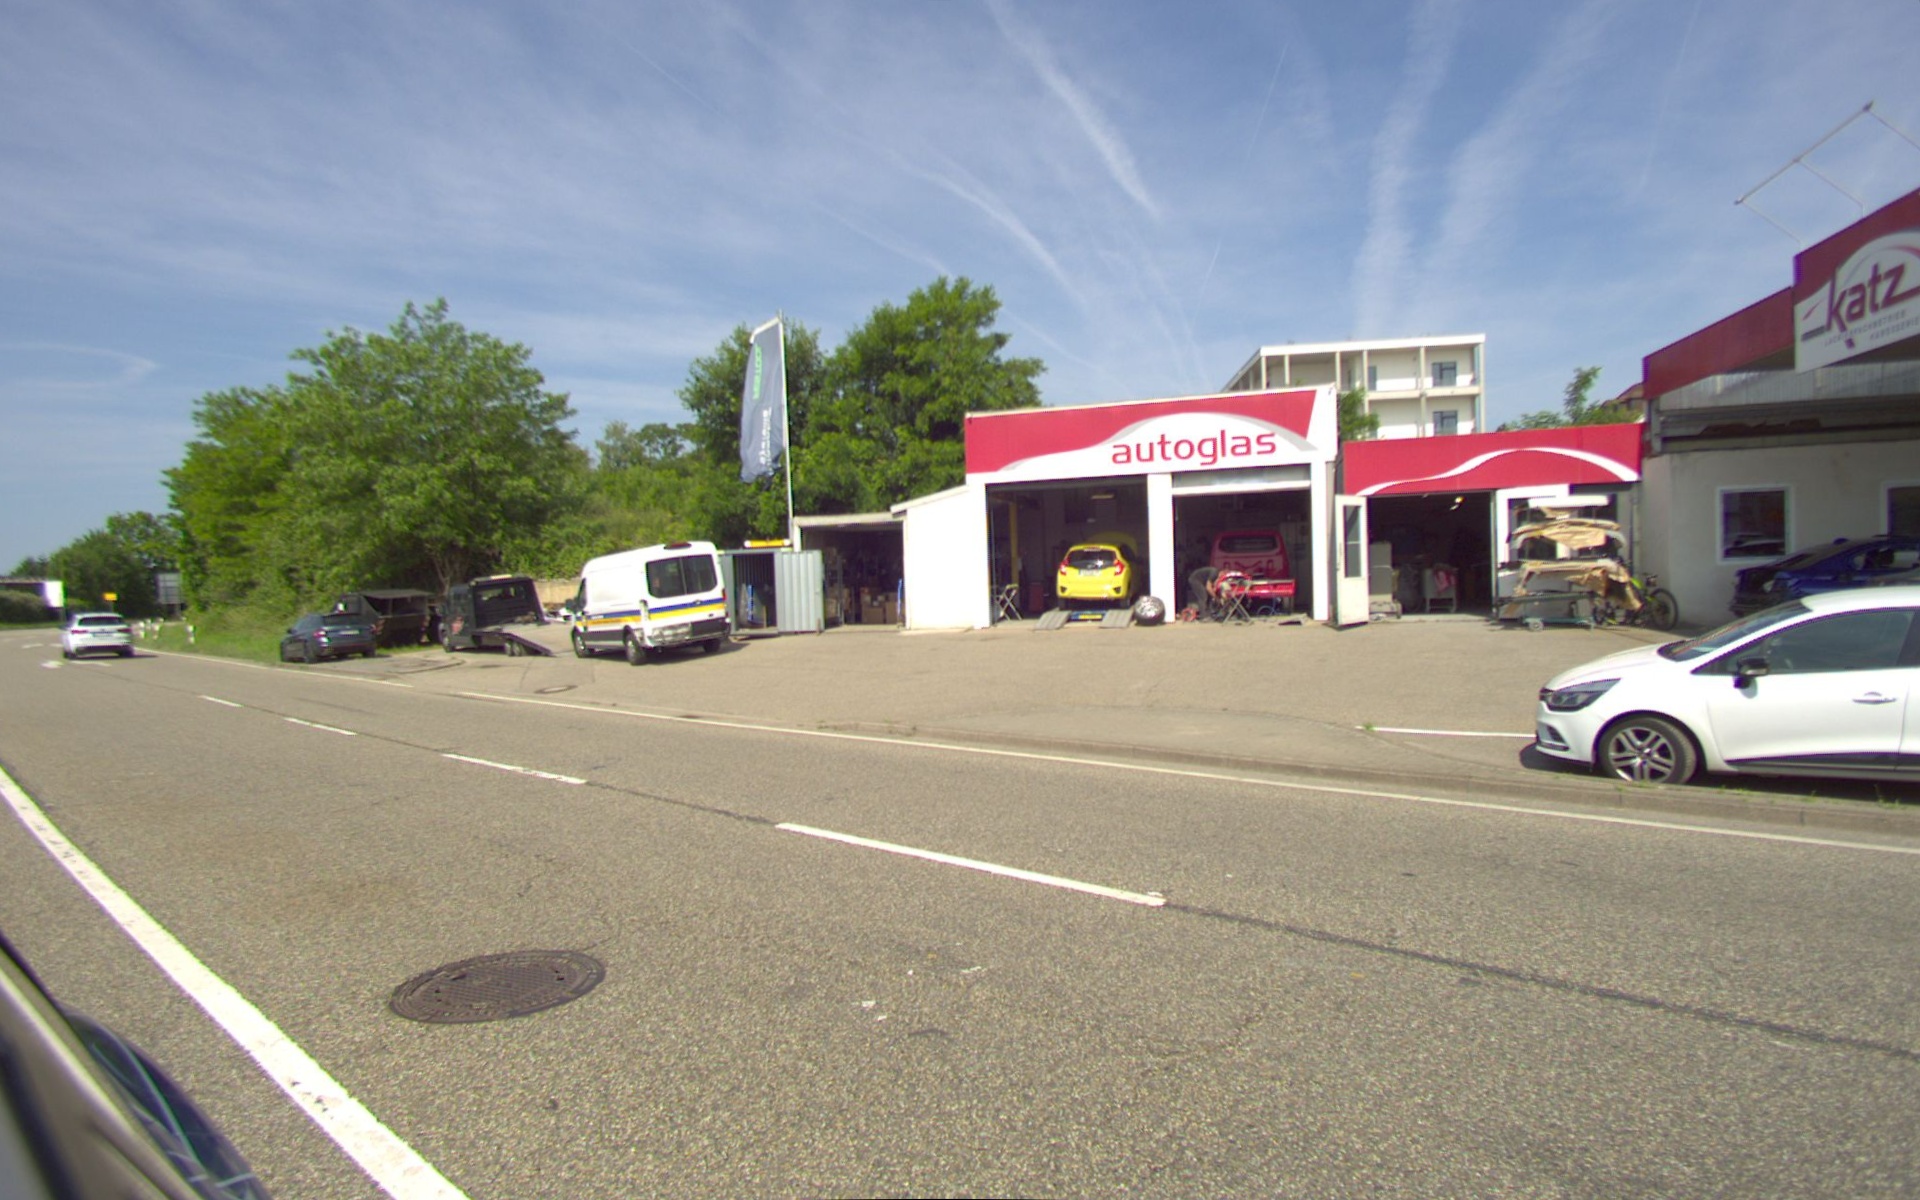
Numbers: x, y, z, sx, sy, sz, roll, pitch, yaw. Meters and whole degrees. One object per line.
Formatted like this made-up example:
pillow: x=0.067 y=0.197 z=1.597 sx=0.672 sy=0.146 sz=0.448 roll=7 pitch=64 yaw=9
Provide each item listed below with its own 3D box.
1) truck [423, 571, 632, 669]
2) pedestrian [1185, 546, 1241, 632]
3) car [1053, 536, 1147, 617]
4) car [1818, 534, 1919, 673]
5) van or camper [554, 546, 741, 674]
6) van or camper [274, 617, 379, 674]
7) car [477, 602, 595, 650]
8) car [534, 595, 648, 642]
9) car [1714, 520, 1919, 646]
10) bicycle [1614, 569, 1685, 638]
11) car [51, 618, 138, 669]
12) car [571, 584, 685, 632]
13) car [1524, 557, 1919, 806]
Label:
truck: x=-12.896 y=0.569 z=29.650 sx=8.806 sy=2.313 sz=2.305 roll=-2 pitch=5 yaw=45
pedestrian: x=5.387 y=-0.236 z=21.574 sx=0.894 sy=1.775 sz=0.715 roll=-1 pitch=1 yaw=42
car: x=3.484 y=-0.631 z=24.689 sx=1.724 sy=1.737 sz=3.653 roll=-2 pitch=3 yaw=16
car: x=13.216 y=-0.125 z=11.861 sx=4.357 sy=1.515 sz=1.850 roll=-4 pitch=2 yaw=16
van or camper: x=-7.518 y=0.217 z=23.830 sx=2.127 sy=2.517 sz=5.963 roll=-6 pitch=3 yaw=-37
van or camper: x=-19.369 y=1.331 z=30.864 sx=4.468 sy=1.535 sz=1.622 roll=-1 pitch=1 yaw=44
car: x=-14.885 y=0.884 z=35.731 sx=1.706 sy=1.522 sz=3.642 roll=-2 pitch=1 yaw=24
car: x=-12.792 y=0.608 z=35.271 sx=1.727 sy=1.480 sz=3.646 roll=-2 pitch=1 yaw=21
car: x=13.629 y=-0.328 z=14.569 sx=3.963 sy=1.515 sz=1.851 roll=-4 pitch=3 yaw=15
bicycle: x=11.642 y=0.024 z=17.140 sx=0.411 sy=0.978 sz=1.989 roll=-1 pitch=5 yaw=17
car: x=-30.661 y=1.520 z=35.823 sx=4.000 sy=1.687 sz=1.914 roll=-2 pitch=-2 yaw=43
car: x=-11.155 y=0.234 z=34.220 sx=1.727 sy=1.480 sz=3.646 roll=-2 pitch=1 yaw=21
car: x=6.631 y=0.518 z=7.502 sx=3.997 sy=1.630 sz=1.761 roll=-2 pitch=1 yaw=40
